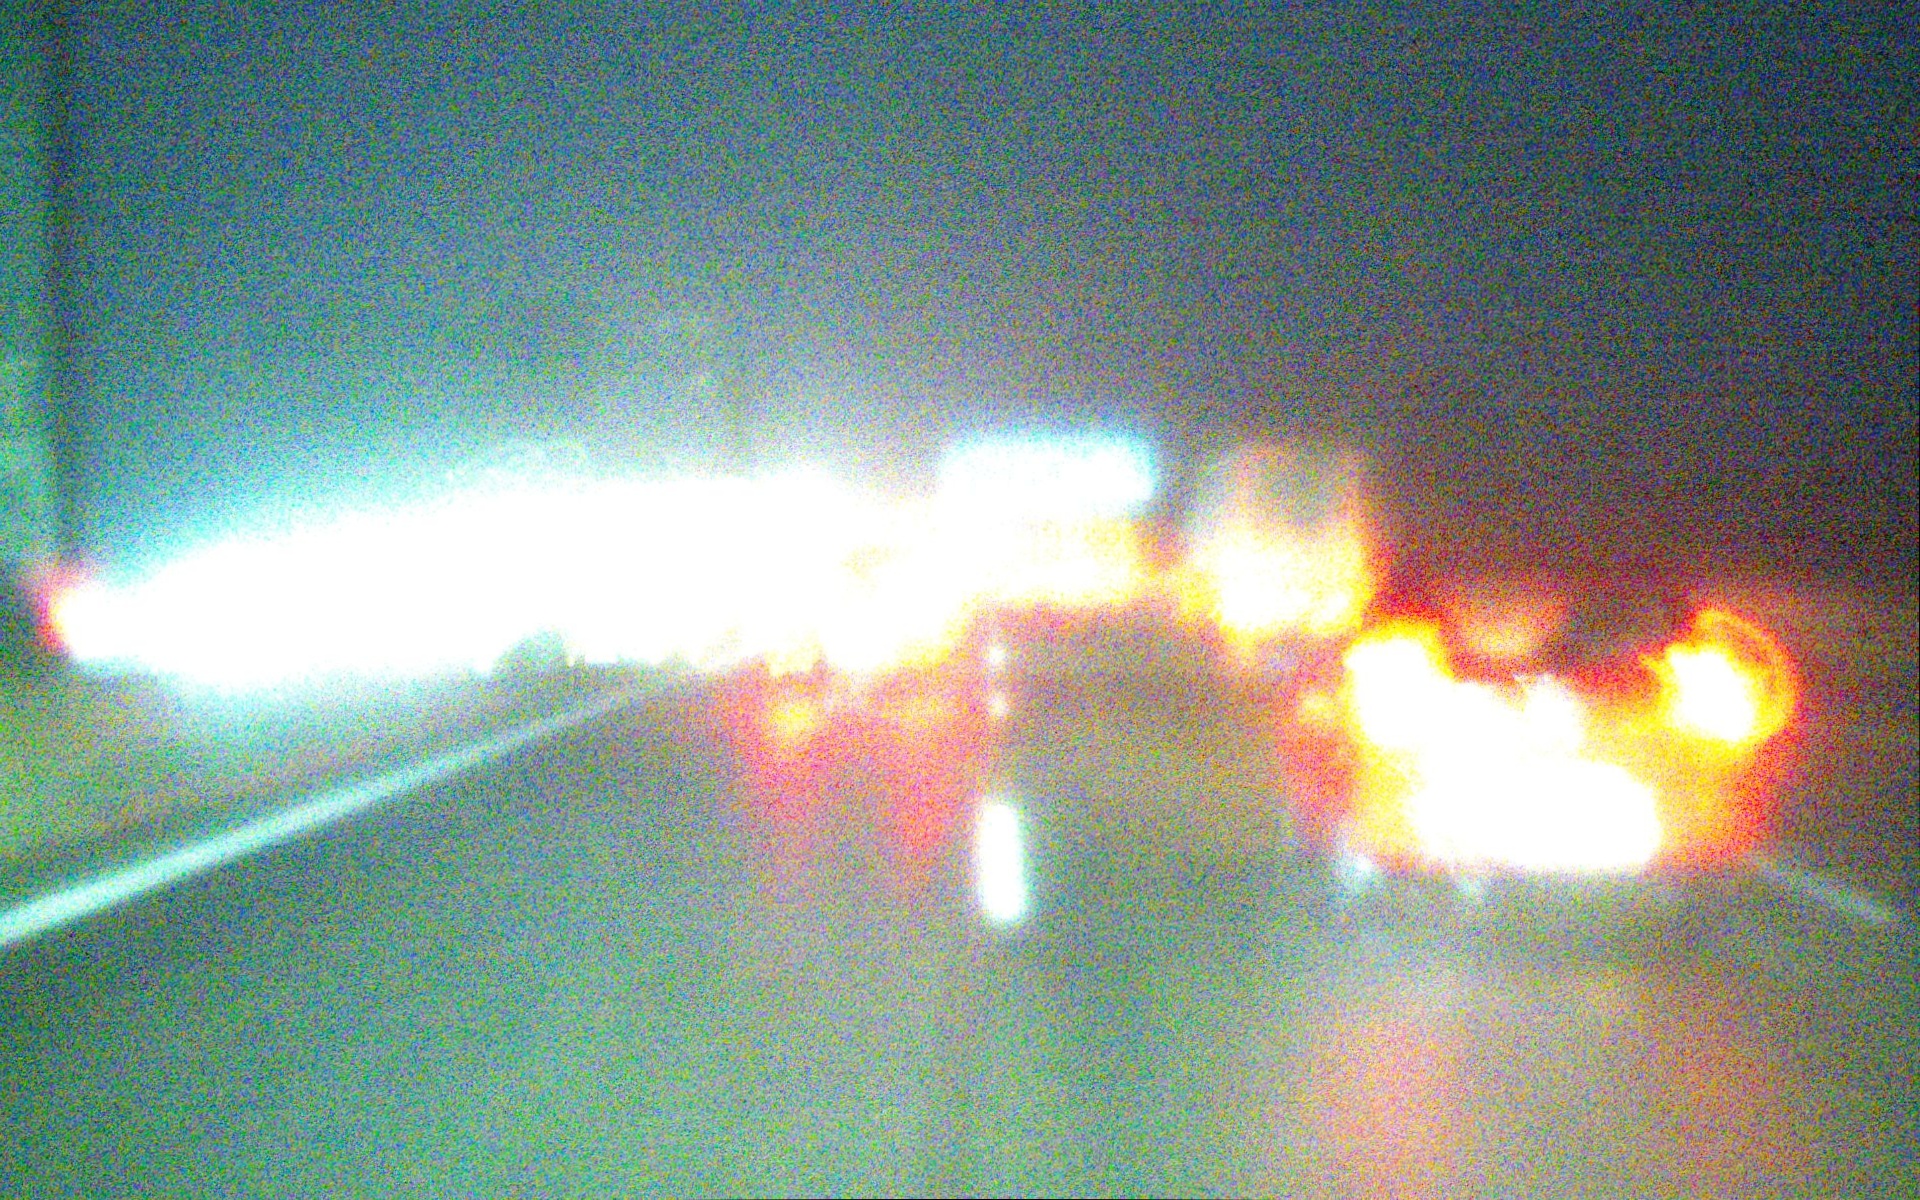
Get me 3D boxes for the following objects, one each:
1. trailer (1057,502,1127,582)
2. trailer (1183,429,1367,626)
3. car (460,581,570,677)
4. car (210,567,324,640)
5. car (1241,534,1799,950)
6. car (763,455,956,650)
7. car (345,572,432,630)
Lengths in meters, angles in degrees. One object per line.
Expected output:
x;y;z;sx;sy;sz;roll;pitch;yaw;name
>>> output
7.439;-3.221;195.546;3.041;4.095;13.828;-2;-1;-1;trailer
7.123;-1.532;79.822;2.903;4.095;14.487;-2;0;0;trailer
-10.410;0.651;80.672;1.993;2.006;4.295;1;2;0;car
-17.584;0.064;87.493;1.993;1.767;4.960;-1;0;-2;car
2.307;0.553;15.285;1.740;1.570;4.494;0;0;0;car
-1.076;-0.560;37.842;1.993;2.006;4.001;1;2;-1;car
-17.769;0.017;107.058;1.993;1.767;4.960;0;0;-2;car
